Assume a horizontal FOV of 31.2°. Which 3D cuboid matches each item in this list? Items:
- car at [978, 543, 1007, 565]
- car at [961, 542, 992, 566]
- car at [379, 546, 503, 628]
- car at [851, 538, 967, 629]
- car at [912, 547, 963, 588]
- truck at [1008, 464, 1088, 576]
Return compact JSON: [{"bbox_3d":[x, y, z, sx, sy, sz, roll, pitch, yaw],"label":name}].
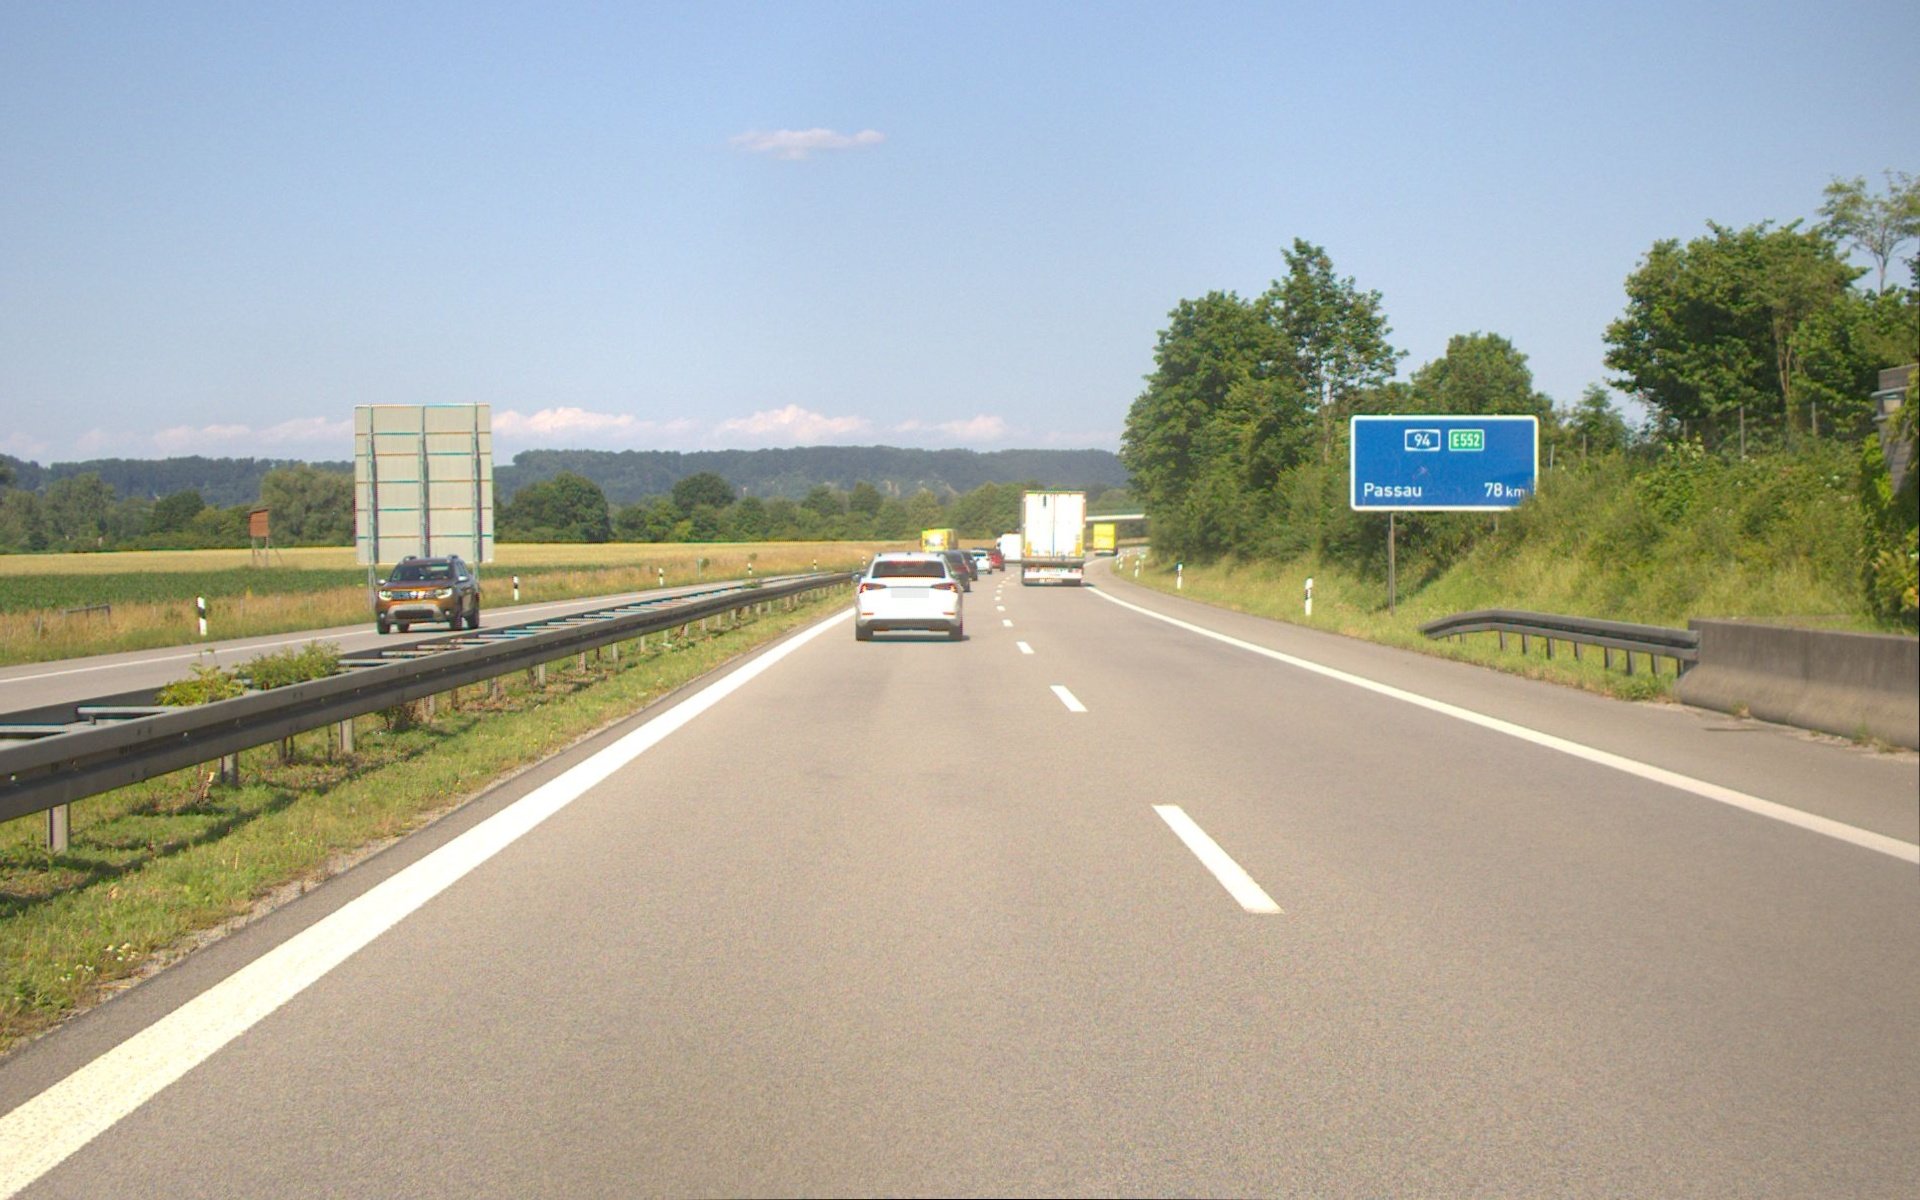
[{"bbox_3d":[2.137,-2.994,225.082,1.771,1.416,4.364,1,1,2],"label":"car"},{"bbox_3d":[0.988,-2.751,205.738,1.771,1.416,4.365,1,1,2],"label":"car"},{"bbox_3d":[-11.435,-0.310,76.008,1.993,1.656,4.776,-2,1,0],"label":"car"},{"bbox_3d":[-0.837,-0.311,58.031,1.840,1.416,5.255,1,1,0],"label":"car"},{"bbox_3d":[-0.804,-1.167,122.972,1.771,1.416,4.495,1,1,0],"label":"car"},{"bbox_3d":[3.701,-3.379,146.045,3.152,4.596,8.906,-1,1,0],"label":"truck"}]
